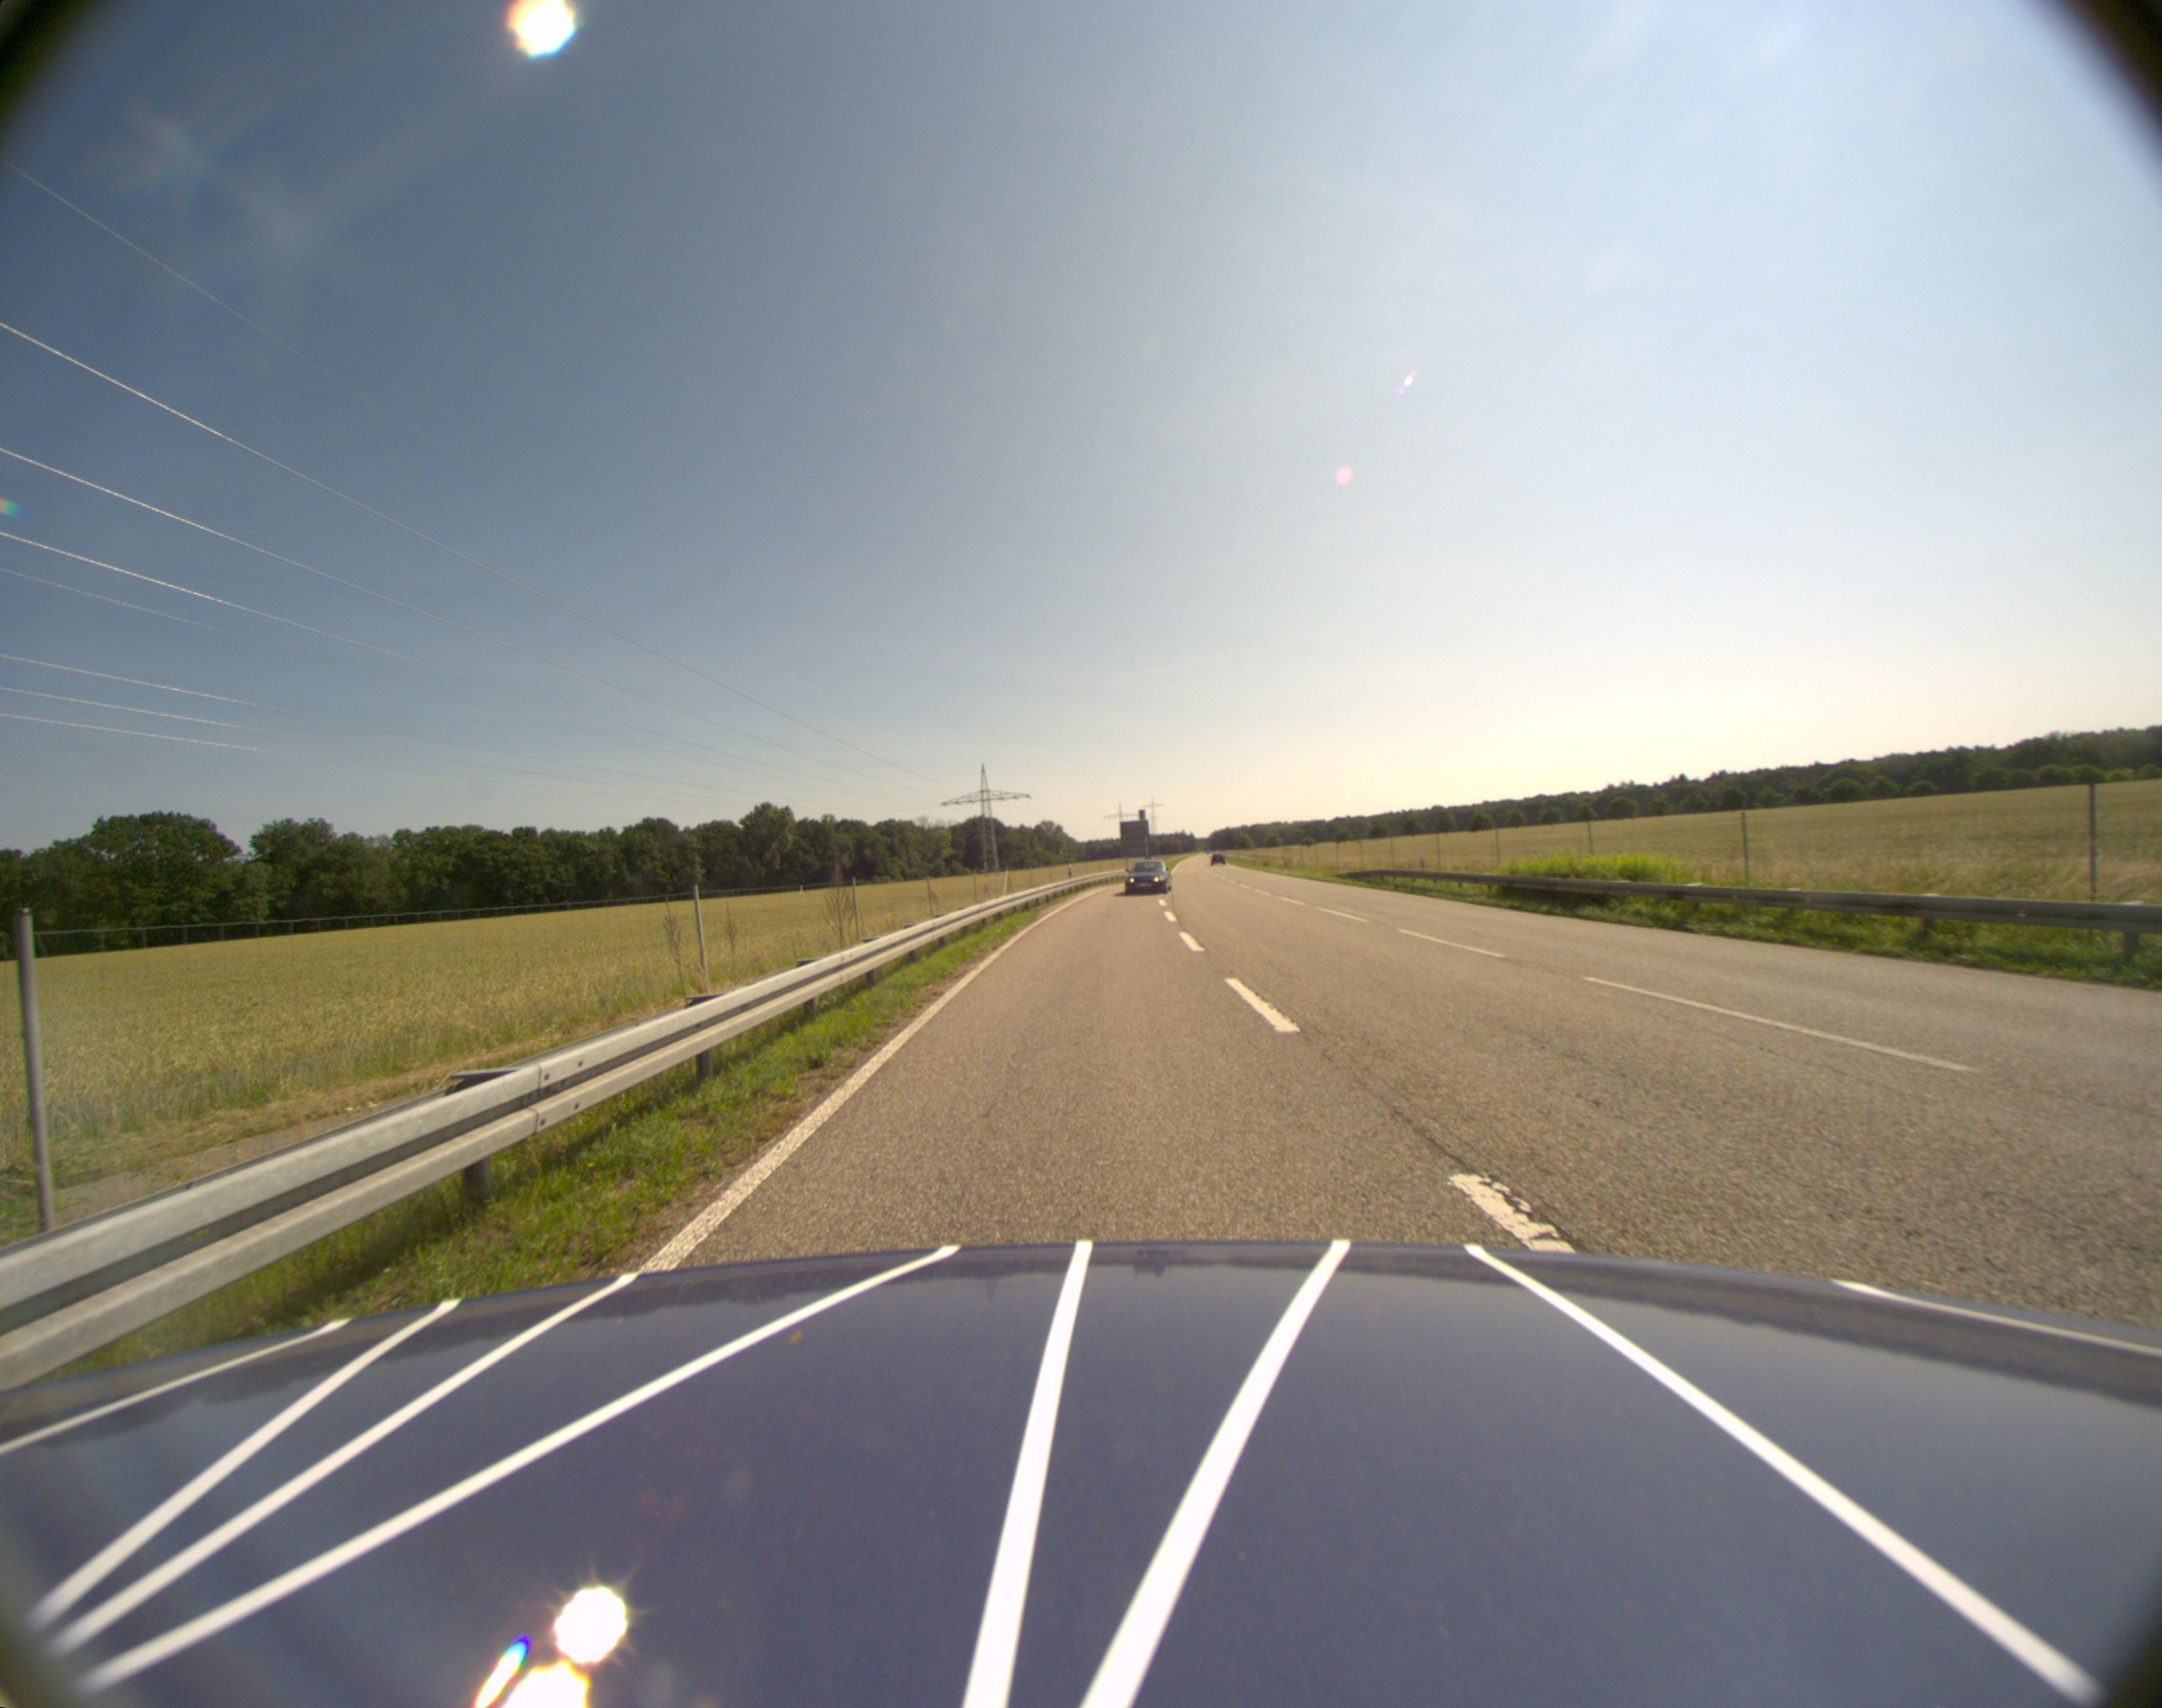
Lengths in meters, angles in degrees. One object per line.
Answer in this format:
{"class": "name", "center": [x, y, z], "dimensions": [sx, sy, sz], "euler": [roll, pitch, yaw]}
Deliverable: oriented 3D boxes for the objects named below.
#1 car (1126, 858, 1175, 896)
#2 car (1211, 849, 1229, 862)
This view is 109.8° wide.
{"class": "car", "center": [2.896, 0.935, 32.367], "dimensions": [1.886, 1.448, 4.076], "euler": [-1, 0, 3]}
{"class": "car", "center": [17.210, 0.163, 94.421], "dimensions": [1.832, 1.499, 4.164], "euler": [-3, 0, 7]}
